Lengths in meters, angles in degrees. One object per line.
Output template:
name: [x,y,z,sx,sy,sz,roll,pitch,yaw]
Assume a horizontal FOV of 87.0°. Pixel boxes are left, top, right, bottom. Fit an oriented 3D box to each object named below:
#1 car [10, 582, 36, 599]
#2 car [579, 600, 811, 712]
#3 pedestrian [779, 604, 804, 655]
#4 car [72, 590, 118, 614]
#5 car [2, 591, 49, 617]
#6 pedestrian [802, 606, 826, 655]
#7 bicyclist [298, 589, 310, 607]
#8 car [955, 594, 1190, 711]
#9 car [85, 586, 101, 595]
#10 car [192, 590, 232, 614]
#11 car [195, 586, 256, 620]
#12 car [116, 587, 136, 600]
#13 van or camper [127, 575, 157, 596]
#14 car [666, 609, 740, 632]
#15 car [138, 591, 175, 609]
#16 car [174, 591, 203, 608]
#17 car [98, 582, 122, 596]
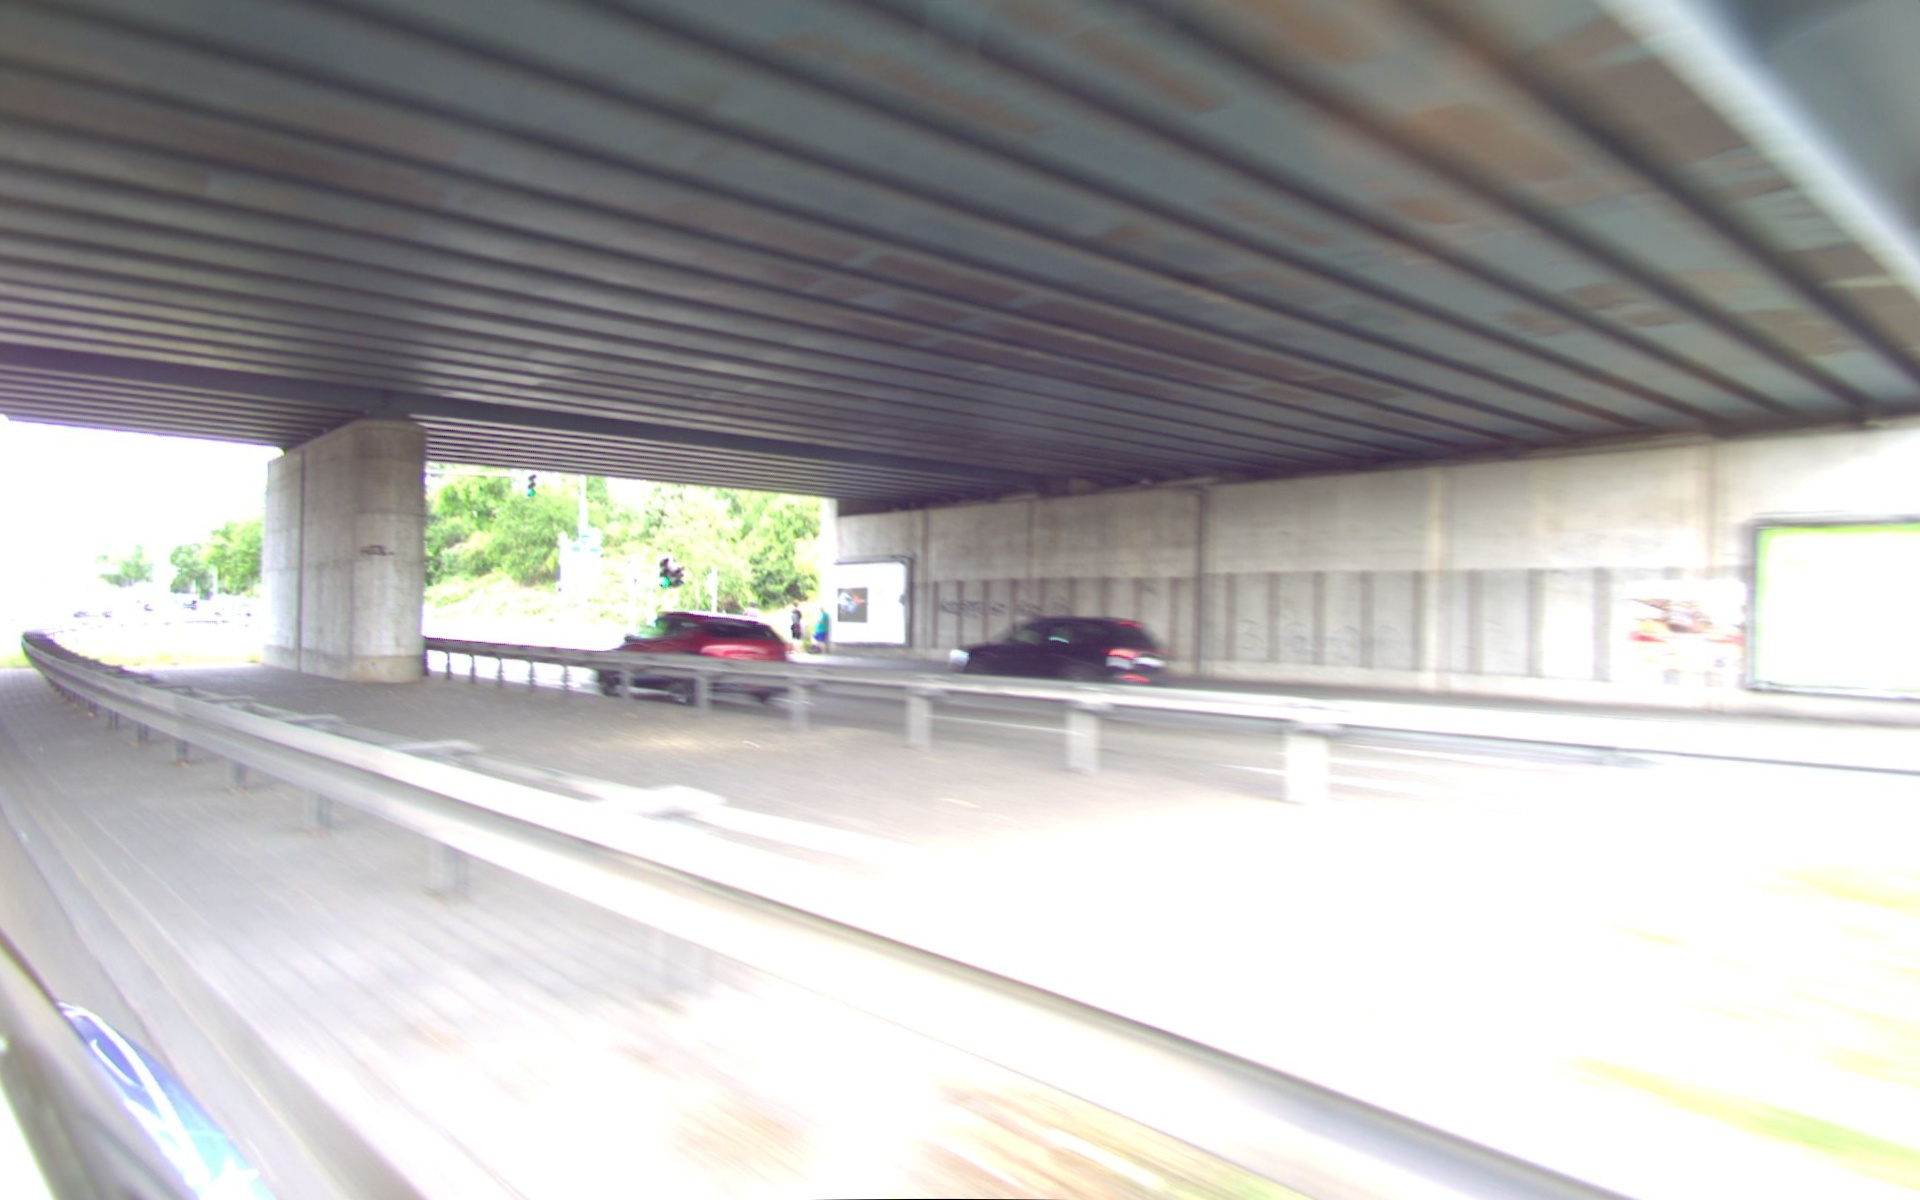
car: [-90.326,-0.905,97.523,1.757,1.507,3.602,2,-1,-43]
car: [-4.756,0.883,17.807,4.325,1.688,1.971,1,-1,44]
pedestrian: [-5.678,0.985,34.162,0.556,1.693,0.584,0,-1,44]
car: [-54.205,0.122,63.394,1.970,1.426,4.837,0,0,-43]
car: [-52.839,0.204,57.220,1.892,1.425,4.300,-1,1,-43]
pedestrian: [-4.892,1.025,33.969,0.547,1.637,0.587,2,-1,-42]
bicyclist: [-65.779,-0.203,101.488,0.881,1.760,0.999,0,1,-40]
car: [2.124,0.934,19.977,1.970,2.029,4.339,2,-1,-45]
car: [-154.358,-1.741,180.133,1.970,1.442,5.030,2,-1,-43]
car: [-54.548,0.110,73.788,1.784,1.644,4.397,2,-1,-43]
car: [-40.900,0.151,56.326,4.719,1.772,1.971,1,-1,45]
car: [-126.718,-0.978,153.755,1.970,1.815,4.414,2,-1,-43]
van or camper: [-105.668,-1.860,130.659,2.324,2.559,7.069,1,0,-44]
car: [-16.838,1.341,66.339,4.252,1.389,2.004,2,-1,-37]
car: [-65.481,0.001,82.412,1.950,1.400,4.785,3,-1,-43]
car: [-74.444,-0.058,97.652,1.902,1.541,4.005,3,-1,-42]
car: [-122.190,-1.577,145.494,2.165,1.978,5.197,2,-1,-44]
